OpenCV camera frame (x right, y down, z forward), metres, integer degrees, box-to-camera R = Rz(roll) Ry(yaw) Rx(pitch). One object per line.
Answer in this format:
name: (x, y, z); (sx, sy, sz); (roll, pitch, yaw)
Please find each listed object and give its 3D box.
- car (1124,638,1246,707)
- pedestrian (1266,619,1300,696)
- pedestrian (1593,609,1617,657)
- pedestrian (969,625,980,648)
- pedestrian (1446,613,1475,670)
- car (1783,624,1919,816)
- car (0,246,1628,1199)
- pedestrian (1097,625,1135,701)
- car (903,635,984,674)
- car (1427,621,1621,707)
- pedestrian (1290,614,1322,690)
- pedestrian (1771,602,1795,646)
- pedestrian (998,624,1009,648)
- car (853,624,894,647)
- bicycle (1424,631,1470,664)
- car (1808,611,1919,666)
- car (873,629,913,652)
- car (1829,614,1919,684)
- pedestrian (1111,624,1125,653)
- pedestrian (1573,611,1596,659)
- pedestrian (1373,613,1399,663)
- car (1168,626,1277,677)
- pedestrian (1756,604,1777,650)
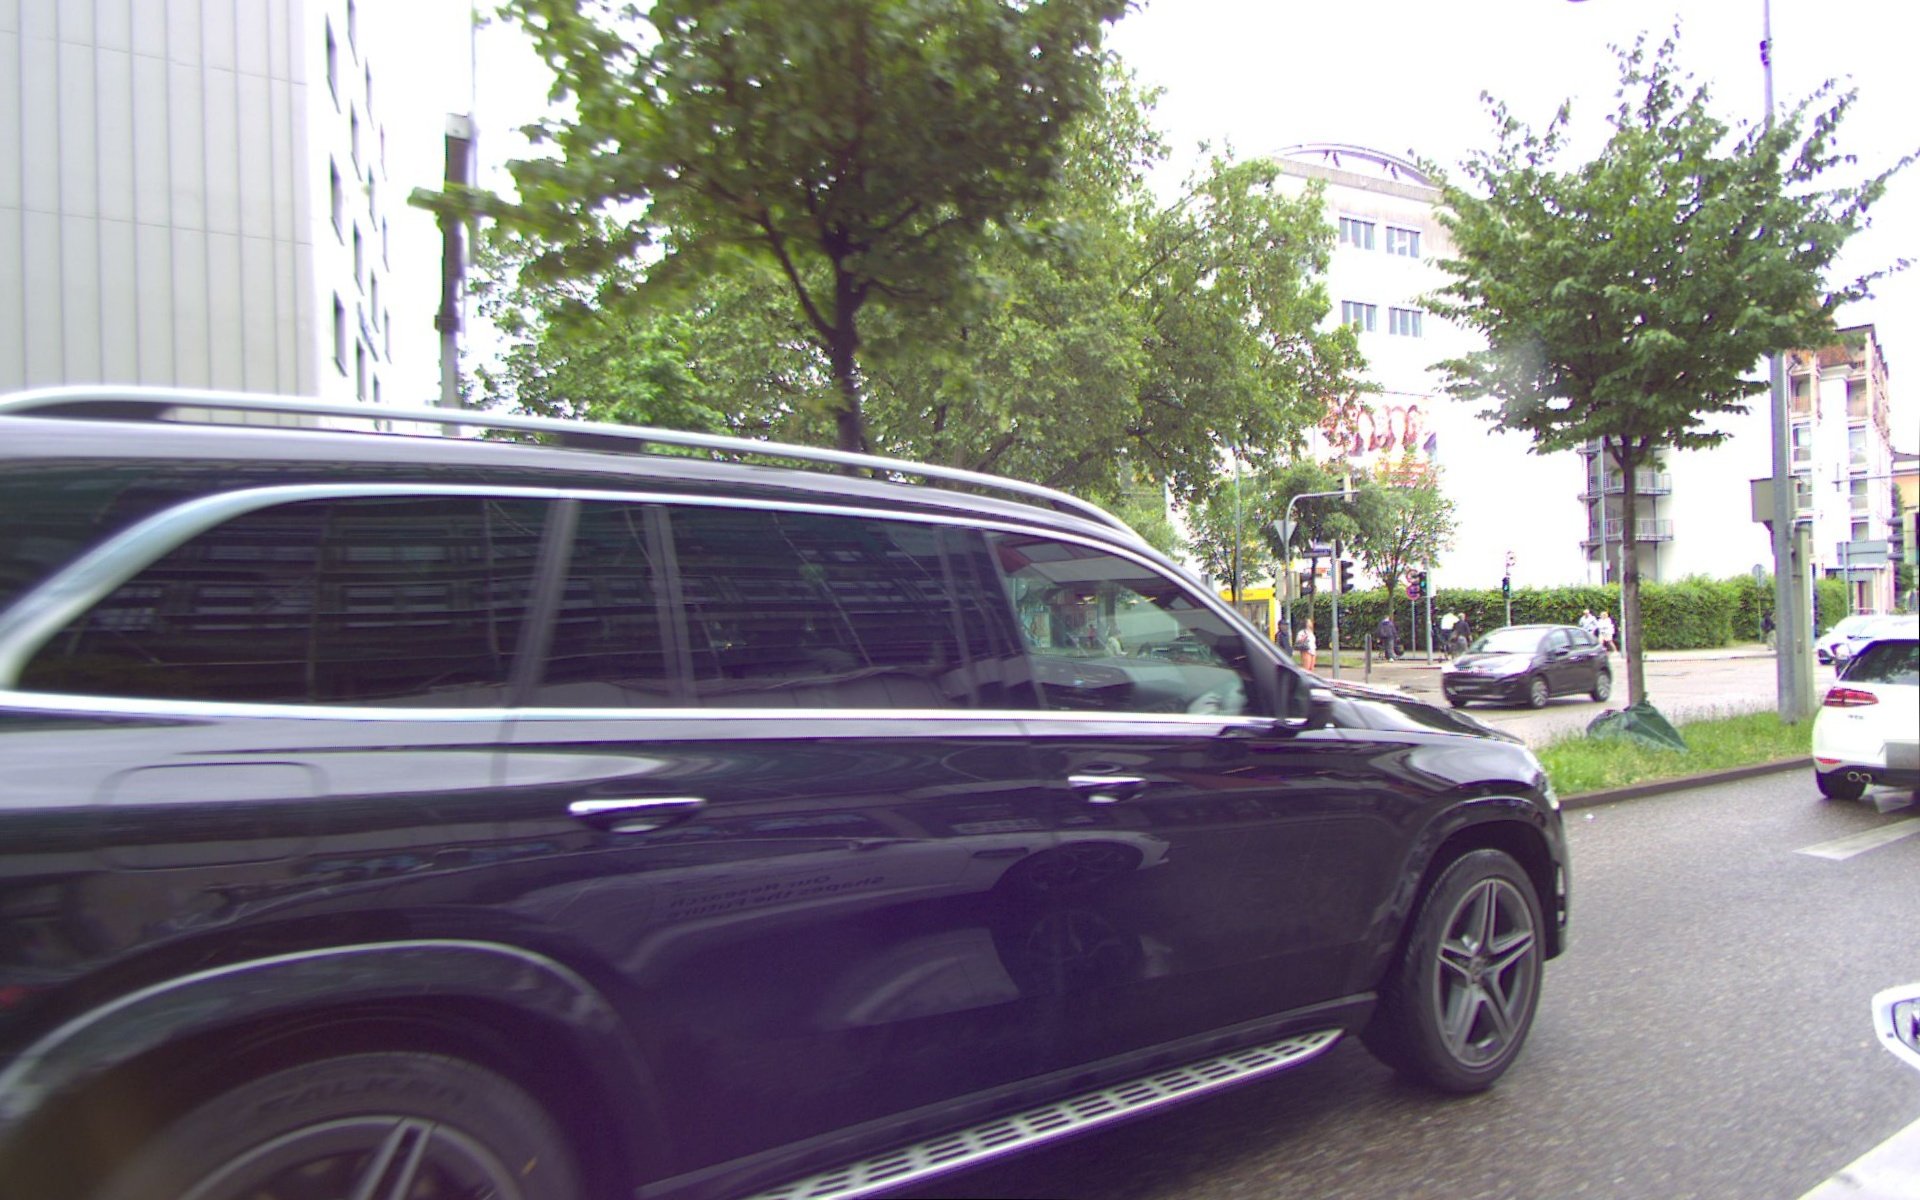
car: (5.089, 1.629, 23.358); (1.895, 1.414, 4.428); (-1, -3, 1)
pedestrian: (7.764, 1.368, 24.152); (0.669, 1.787, 0.408); (-2, 0, -34)
pedestrian: (24.391, 1.238, 37.973); (0.586, 1.788, 0.523); (0, 2, -34)
pedestrian: (1.039, 2.679, 73.664); (0.522, 1.621, 0.693); (0, -1, -26)
pedestrian: (15.962, 1.335, 32.018); (0.587, 1.787, 0.642); (3, -3, -36)
car: (8.966, 0.954, 8.642); (3.956, 1.428, 1.755); (1, 0, -32)
car: (-0.272, 0.509, 3.049); (4.831, 1.801, 1.983); (3, -1, -32)
pedestrian: (4.077, 1.641, 26.257); (0.844, 1.931, 0.827); (1, -2, -1)
car: (-0.792, 2.453, 45.858); (1.686, 1.607, 3.958); (-2, -1, -37)
car: (10.961, 1.206, 19.465); (3.837, 1.510, 1.610); (1, -4, -33)
pedestrian: (8.550, 1.286, 24.845); (0.670, 1.861, 0.443); (3, -3, -36)
pedestrian: (33.942, 0.987, 41.441); (0.587, 1.787, 0.637); (3, -3, -35)
pedestrian: (2.957, 2.430, 67.912); (0.522, 1.621, 0.555); (0, -1, -26)
car: (-6.980, 2.879, 81.745); (1.907, 1.684, 3.874); (2, 0, 18)
bicycle: (17.765, 1.726, 36.623); (2.039, 1.125, 0.645); (-1, -1, -38)
car: (27.322, 1.155, 30.266); (3.602, 1.535, 1.663); (0, -3, -32)
car: (-5.157, 3.113, 77.916); (1.906, 1.684, 3.876); (2, 0, 14)
car: (21.900, 1.111, 23.189); (3.914, 1.498, 1.704); (1, -4, -33)
pedestrian: (8.987, 2.196, 57.118); (0.522, 1.621, 0.555); (0, -1, -26)
pedestrian: (23.926, 1.346, 38.468); (0.586, 1.788, 0.523); (-1, 2, -33)
pedestrian: (15.481, 1.382, 36.512); (0.778, 1.804, 0.653); (0, -2, 14)
car: (9.529, 1.859, 36.652); (1.623, 1.718, 3.561); (-1, -1, -40)
pedestrian: (32.482, 1.091, 40.455); (0.624, 1.787, 0.523); (3, -3, -35)
